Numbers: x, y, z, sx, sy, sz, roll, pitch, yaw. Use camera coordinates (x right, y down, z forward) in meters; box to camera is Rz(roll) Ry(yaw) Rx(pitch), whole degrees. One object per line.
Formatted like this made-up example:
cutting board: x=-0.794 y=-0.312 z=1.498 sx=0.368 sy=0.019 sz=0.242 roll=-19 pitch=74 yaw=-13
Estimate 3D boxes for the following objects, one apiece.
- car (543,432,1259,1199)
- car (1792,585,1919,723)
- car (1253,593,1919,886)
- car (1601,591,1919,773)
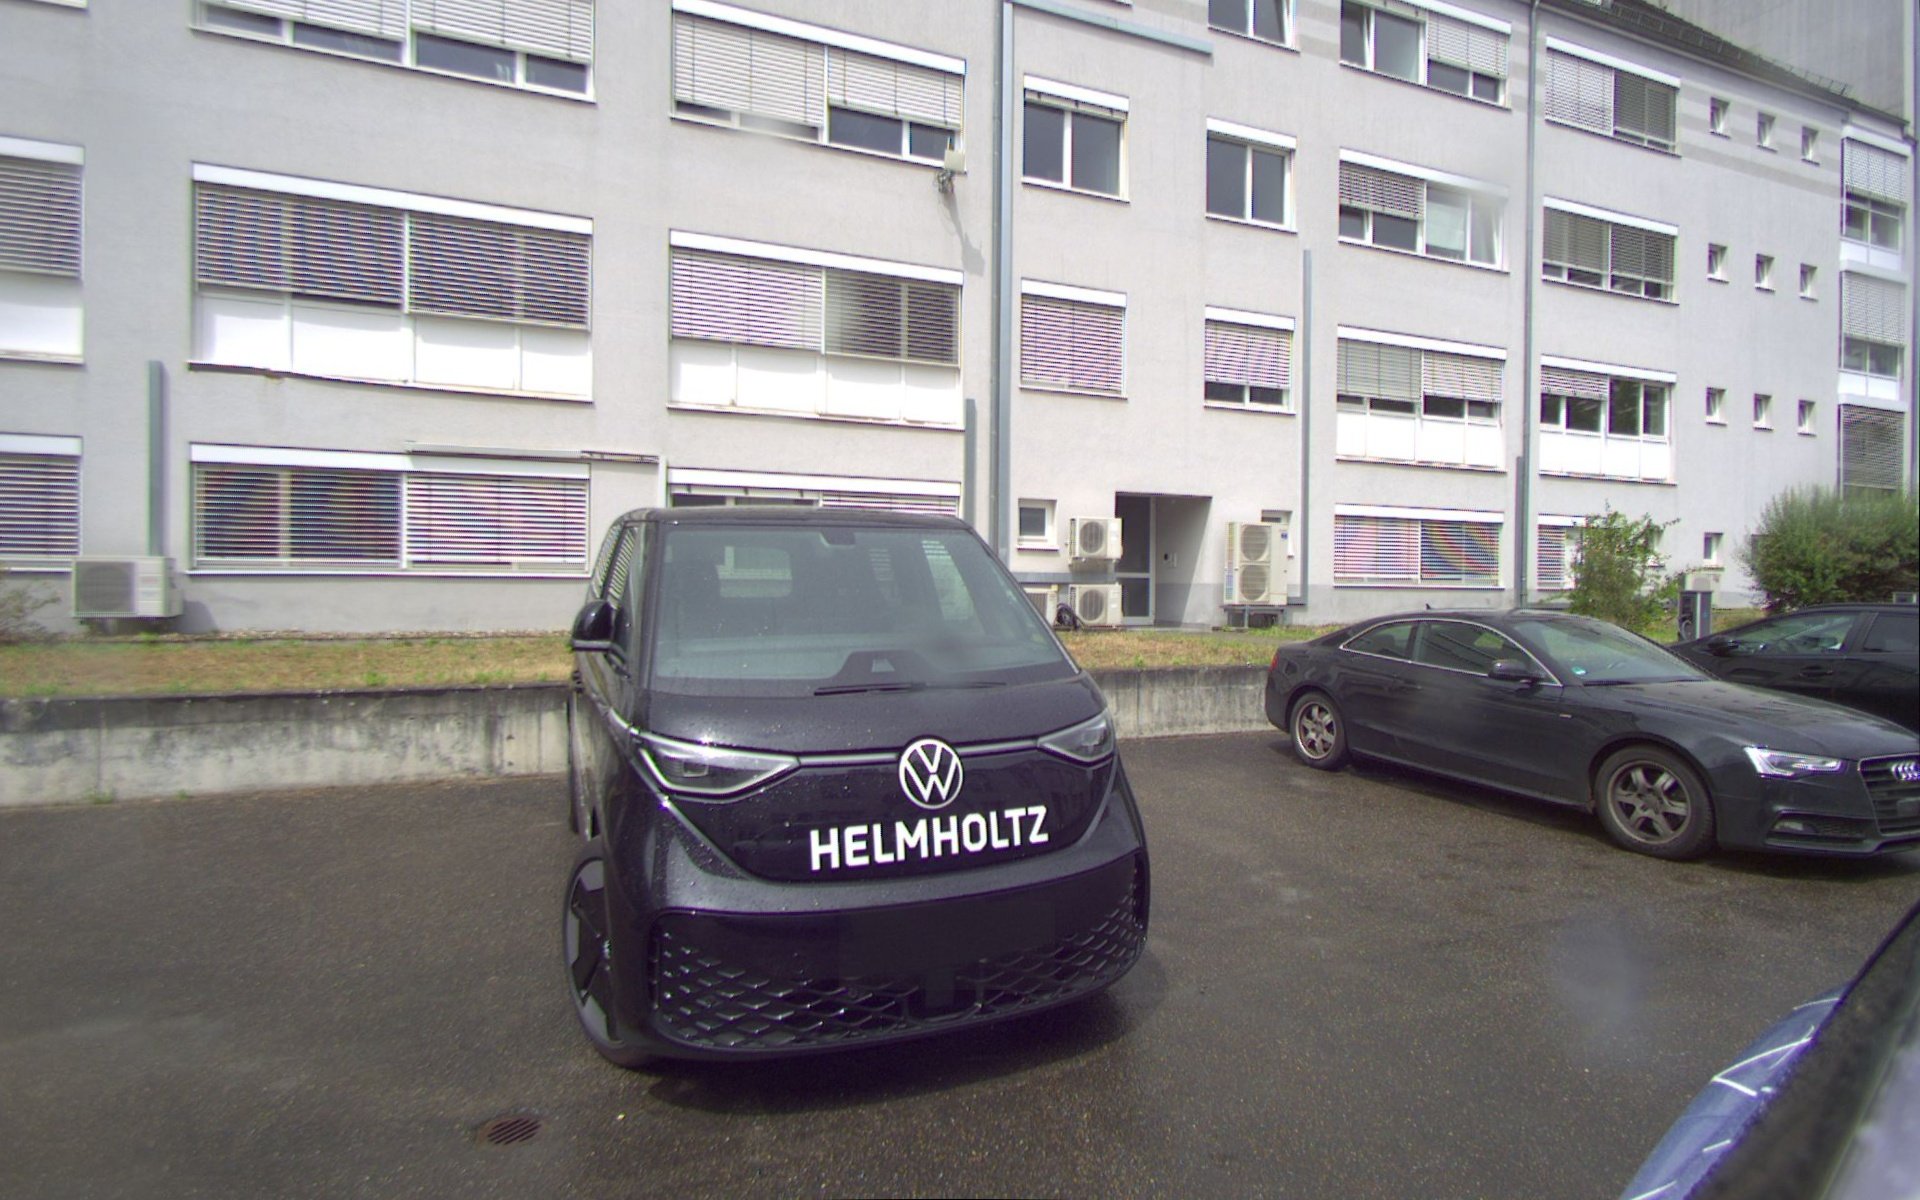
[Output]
car: x=-0.926 y=0.461 z=5.015 sx=2.066 sy=1.856 sz=4.735 roll=0 pitch=1 yaw=-23
car: x=11.476 y=0.606 z=10.432 sx=1.794 sy=1.473 sz=4.120 roll=0 pitch=1 yaw=-21
car: x=4.281 y=0.671 z=7.277 sx=1.821 sy=1.365 sz=4.376 roll=1 pitch=1 yaw=-23
car: x=8.421 y=0.670 z=9.069 sx=1.899 sy=1.418 sz=4.192 roll=-1 pitch=1 yaw=-23
